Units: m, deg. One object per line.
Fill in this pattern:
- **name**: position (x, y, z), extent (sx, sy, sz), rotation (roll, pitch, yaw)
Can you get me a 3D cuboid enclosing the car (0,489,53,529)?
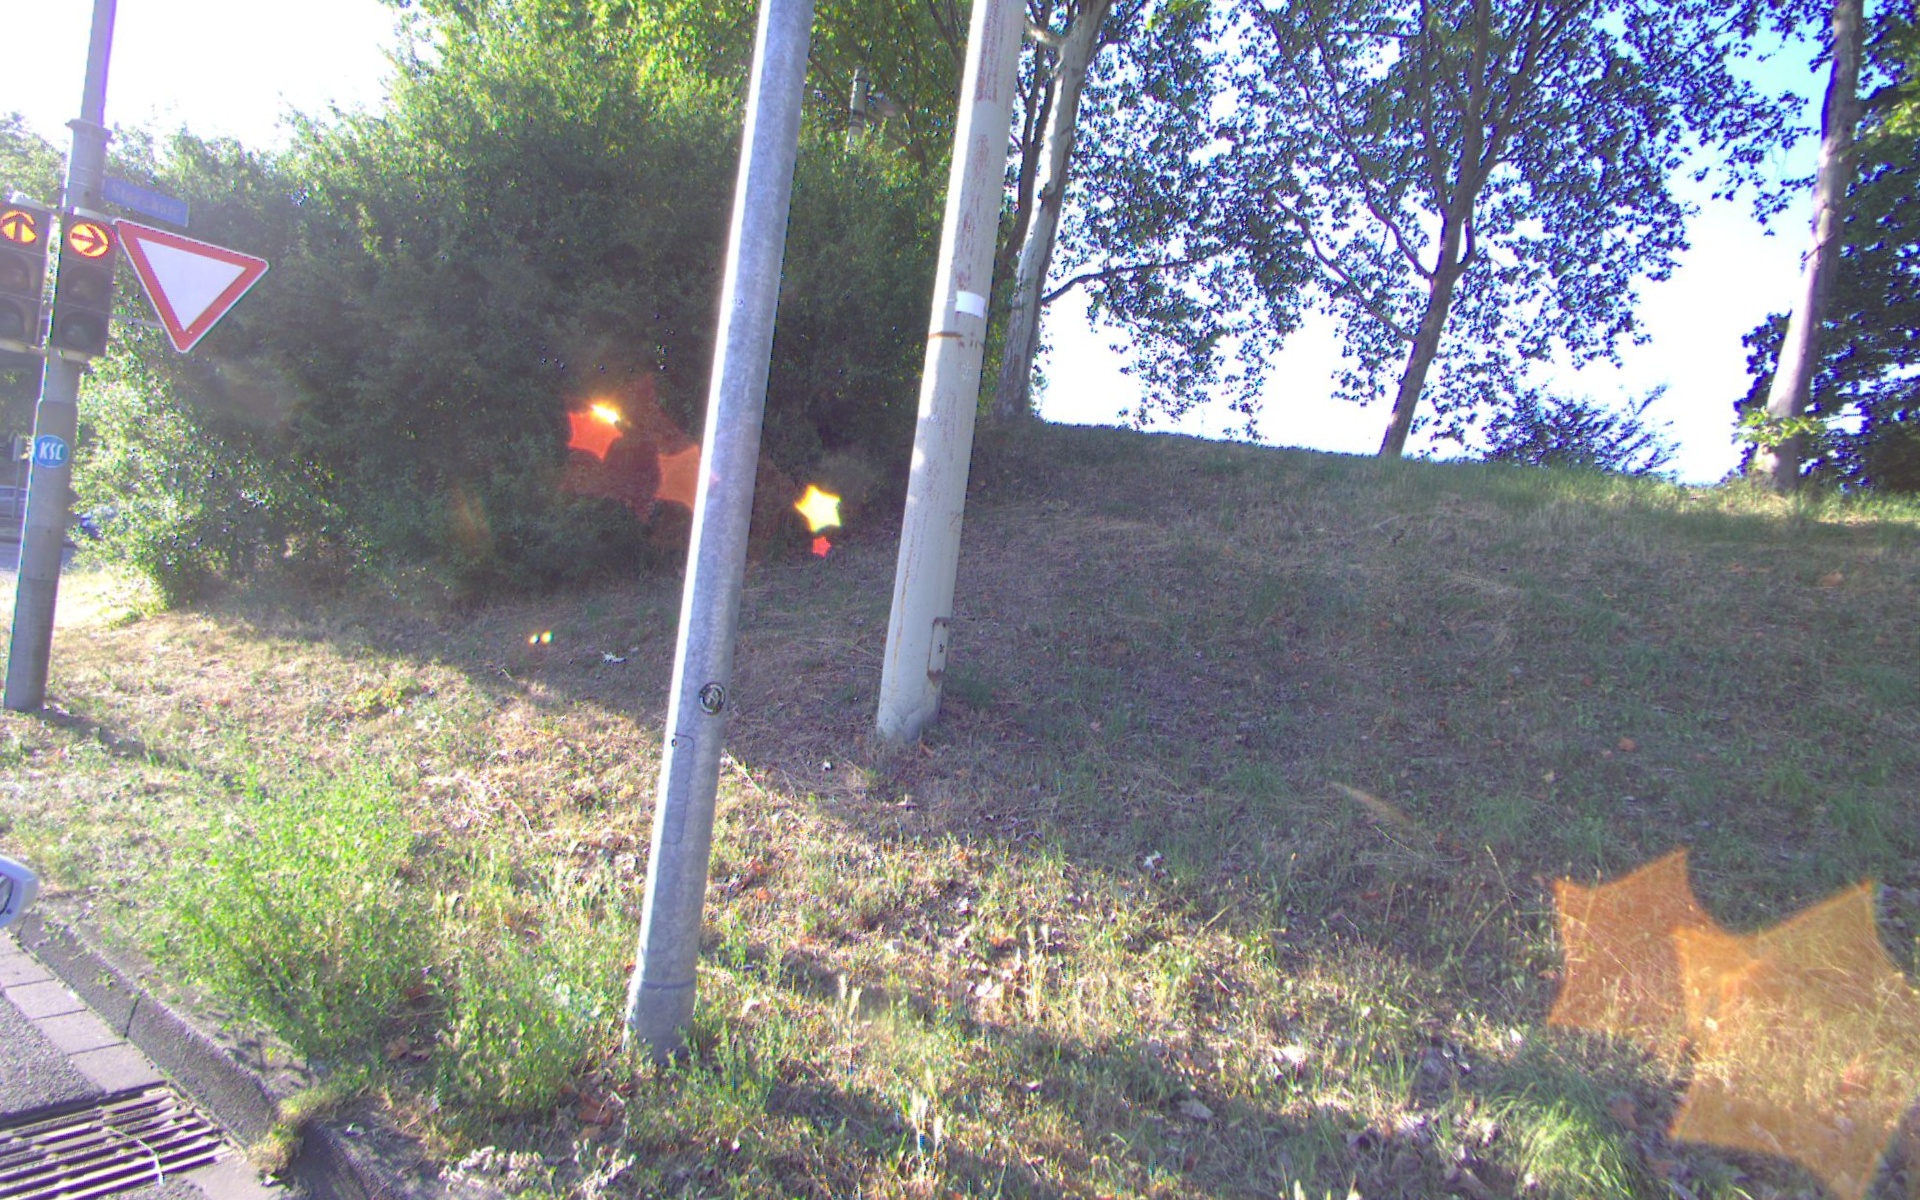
- **car**: position (-43.991, -4.331, 45.563), extent (1.661, 1.529, 4.012), rotation (7, -2, 13)
